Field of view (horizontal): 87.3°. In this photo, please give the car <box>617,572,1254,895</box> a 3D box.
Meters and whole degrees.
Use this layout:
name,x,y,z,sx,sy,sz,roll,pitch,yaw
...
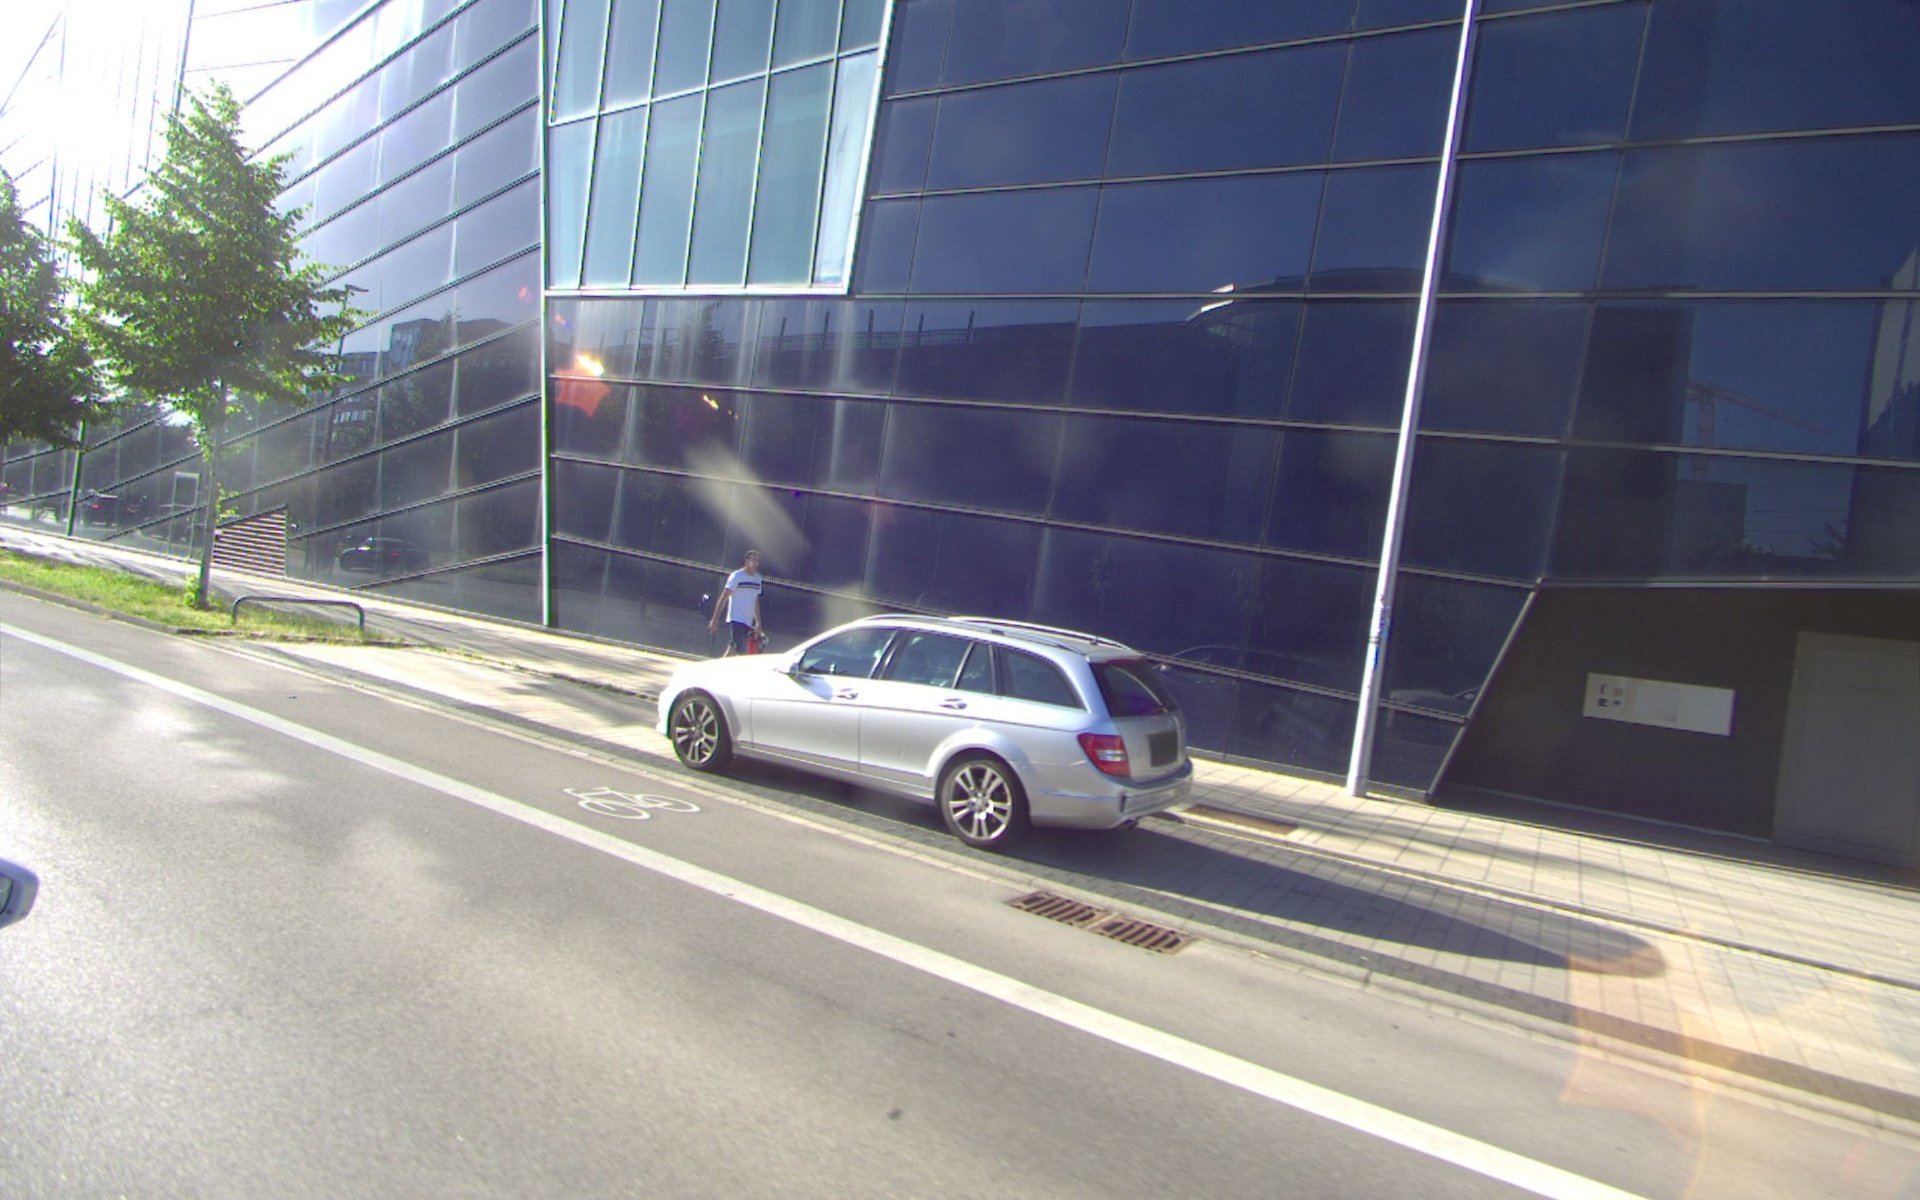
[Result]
name,x,y,z,sx,sy,sz,roll,pitch,yaw
car,-0.351,0.809,8.073,4.773,1.500,1.854,7,2,31

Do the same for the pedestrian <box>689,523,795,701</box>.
name,x,y,z,sx,sy,sz,roll,pitch,yaw
pedestrian,-2.633,0.150,12.185,0.678,2.040,0.836,7,2,33
